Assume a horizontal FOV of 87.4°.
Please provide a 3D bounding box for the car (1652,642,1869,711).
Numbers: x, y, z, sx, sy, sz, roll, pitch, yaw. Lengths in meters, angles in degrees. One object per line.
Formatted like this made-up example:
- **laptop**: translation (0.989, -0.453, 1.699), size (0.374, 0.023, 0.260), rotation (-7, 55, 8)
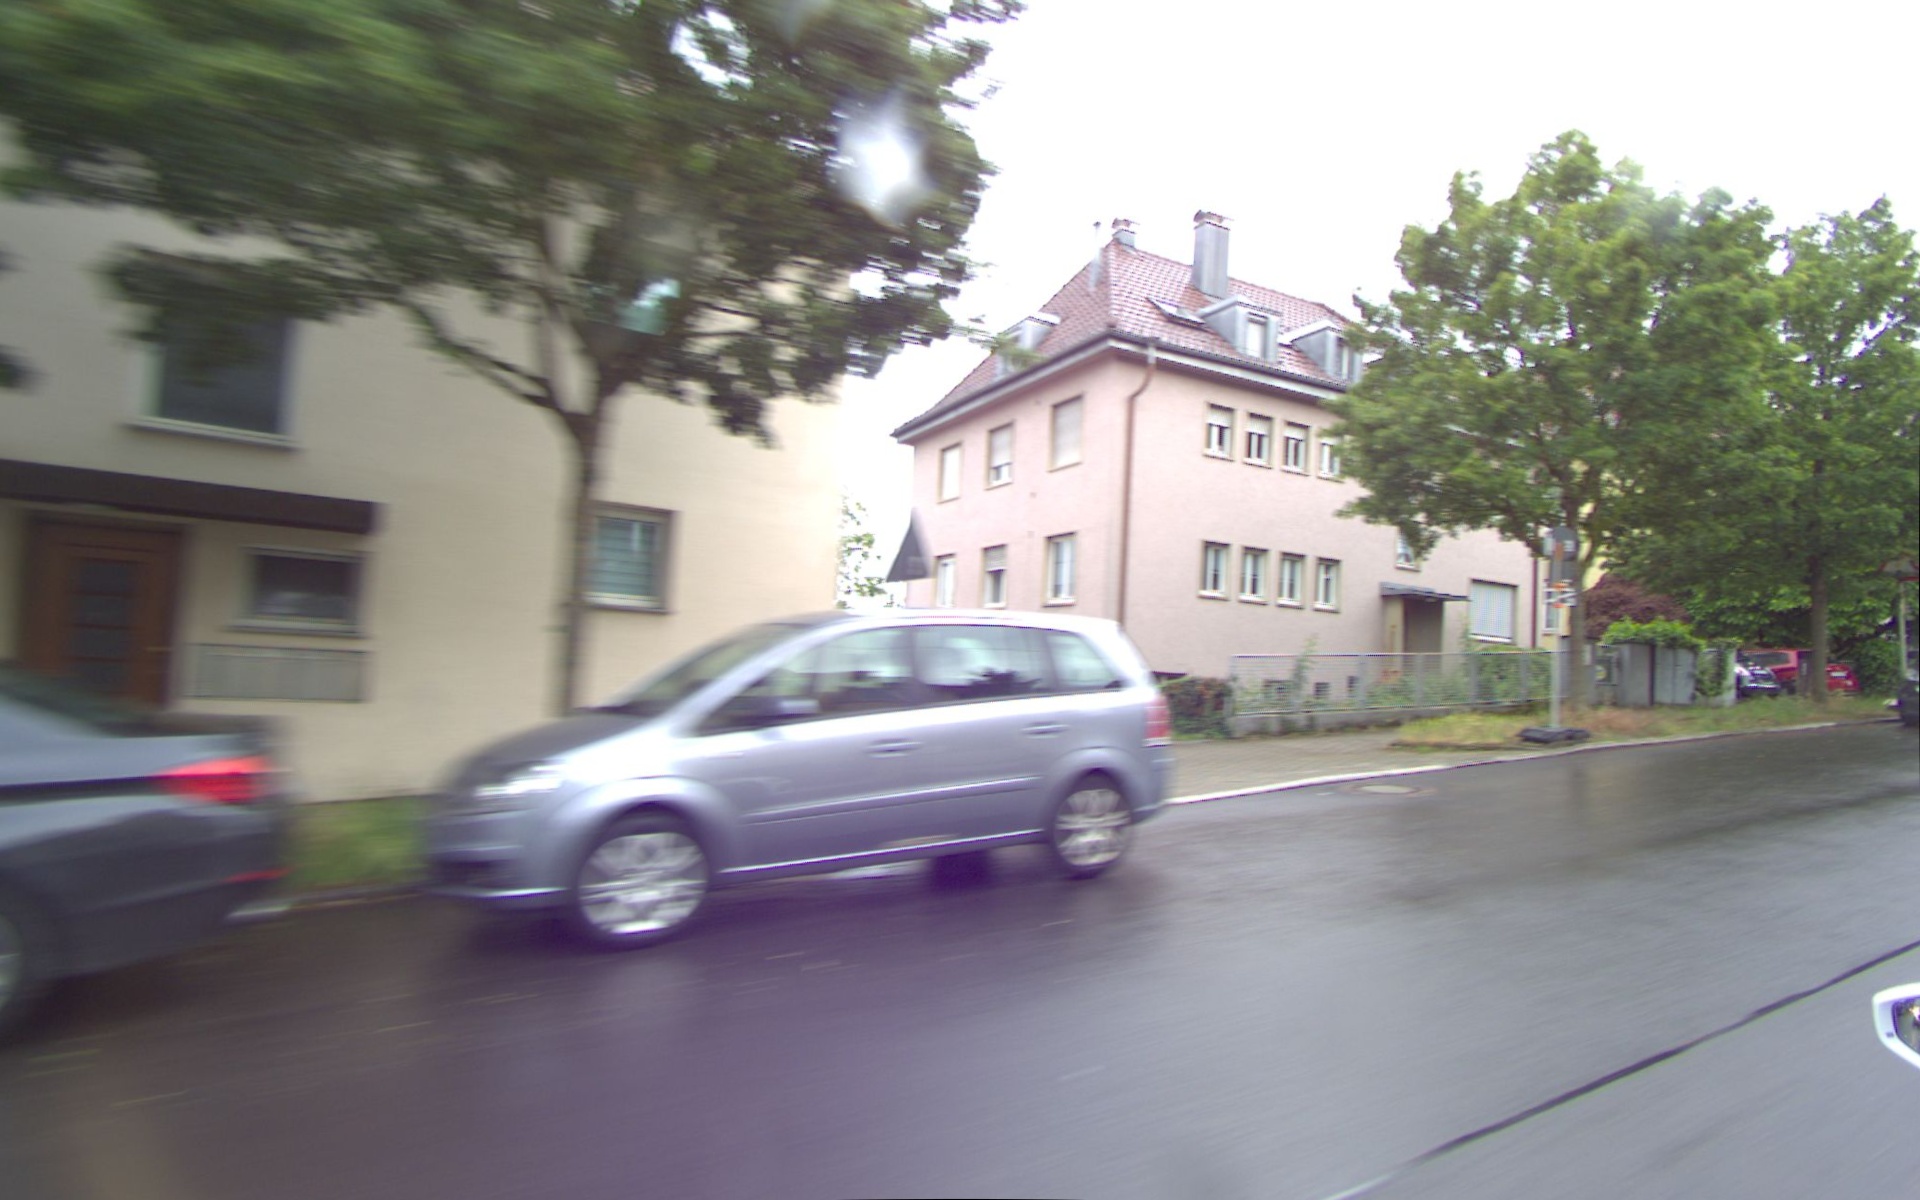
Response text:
- **car**: translation (20.384, 2.026, 25.788), size (1.753, 1.411, 3.915), rotation (2, -9, -22)

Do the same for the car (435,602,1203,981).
- **car**: translation (-0.698, 0.904, 6.041), size (4.246, 1.565, 1.709), rotation (2, -4, -32)

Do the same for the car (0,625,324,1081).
- **car**: translation (-4.944, 0.846, 3.368), size (4.687, 1.529, 1.812), rotation (2, -3, -33)

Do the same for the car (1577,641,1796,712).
- **car**: translation (17.652, 1.933, 24.628), size (1.801, 1.377, 3.915), rotation (2, -9, -22)

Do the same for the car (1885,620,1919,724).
- **car**: translation (15.823, 1.100, 15.378), size (2.997, 1.555, 1.512), rotation (1, -2, -27)
